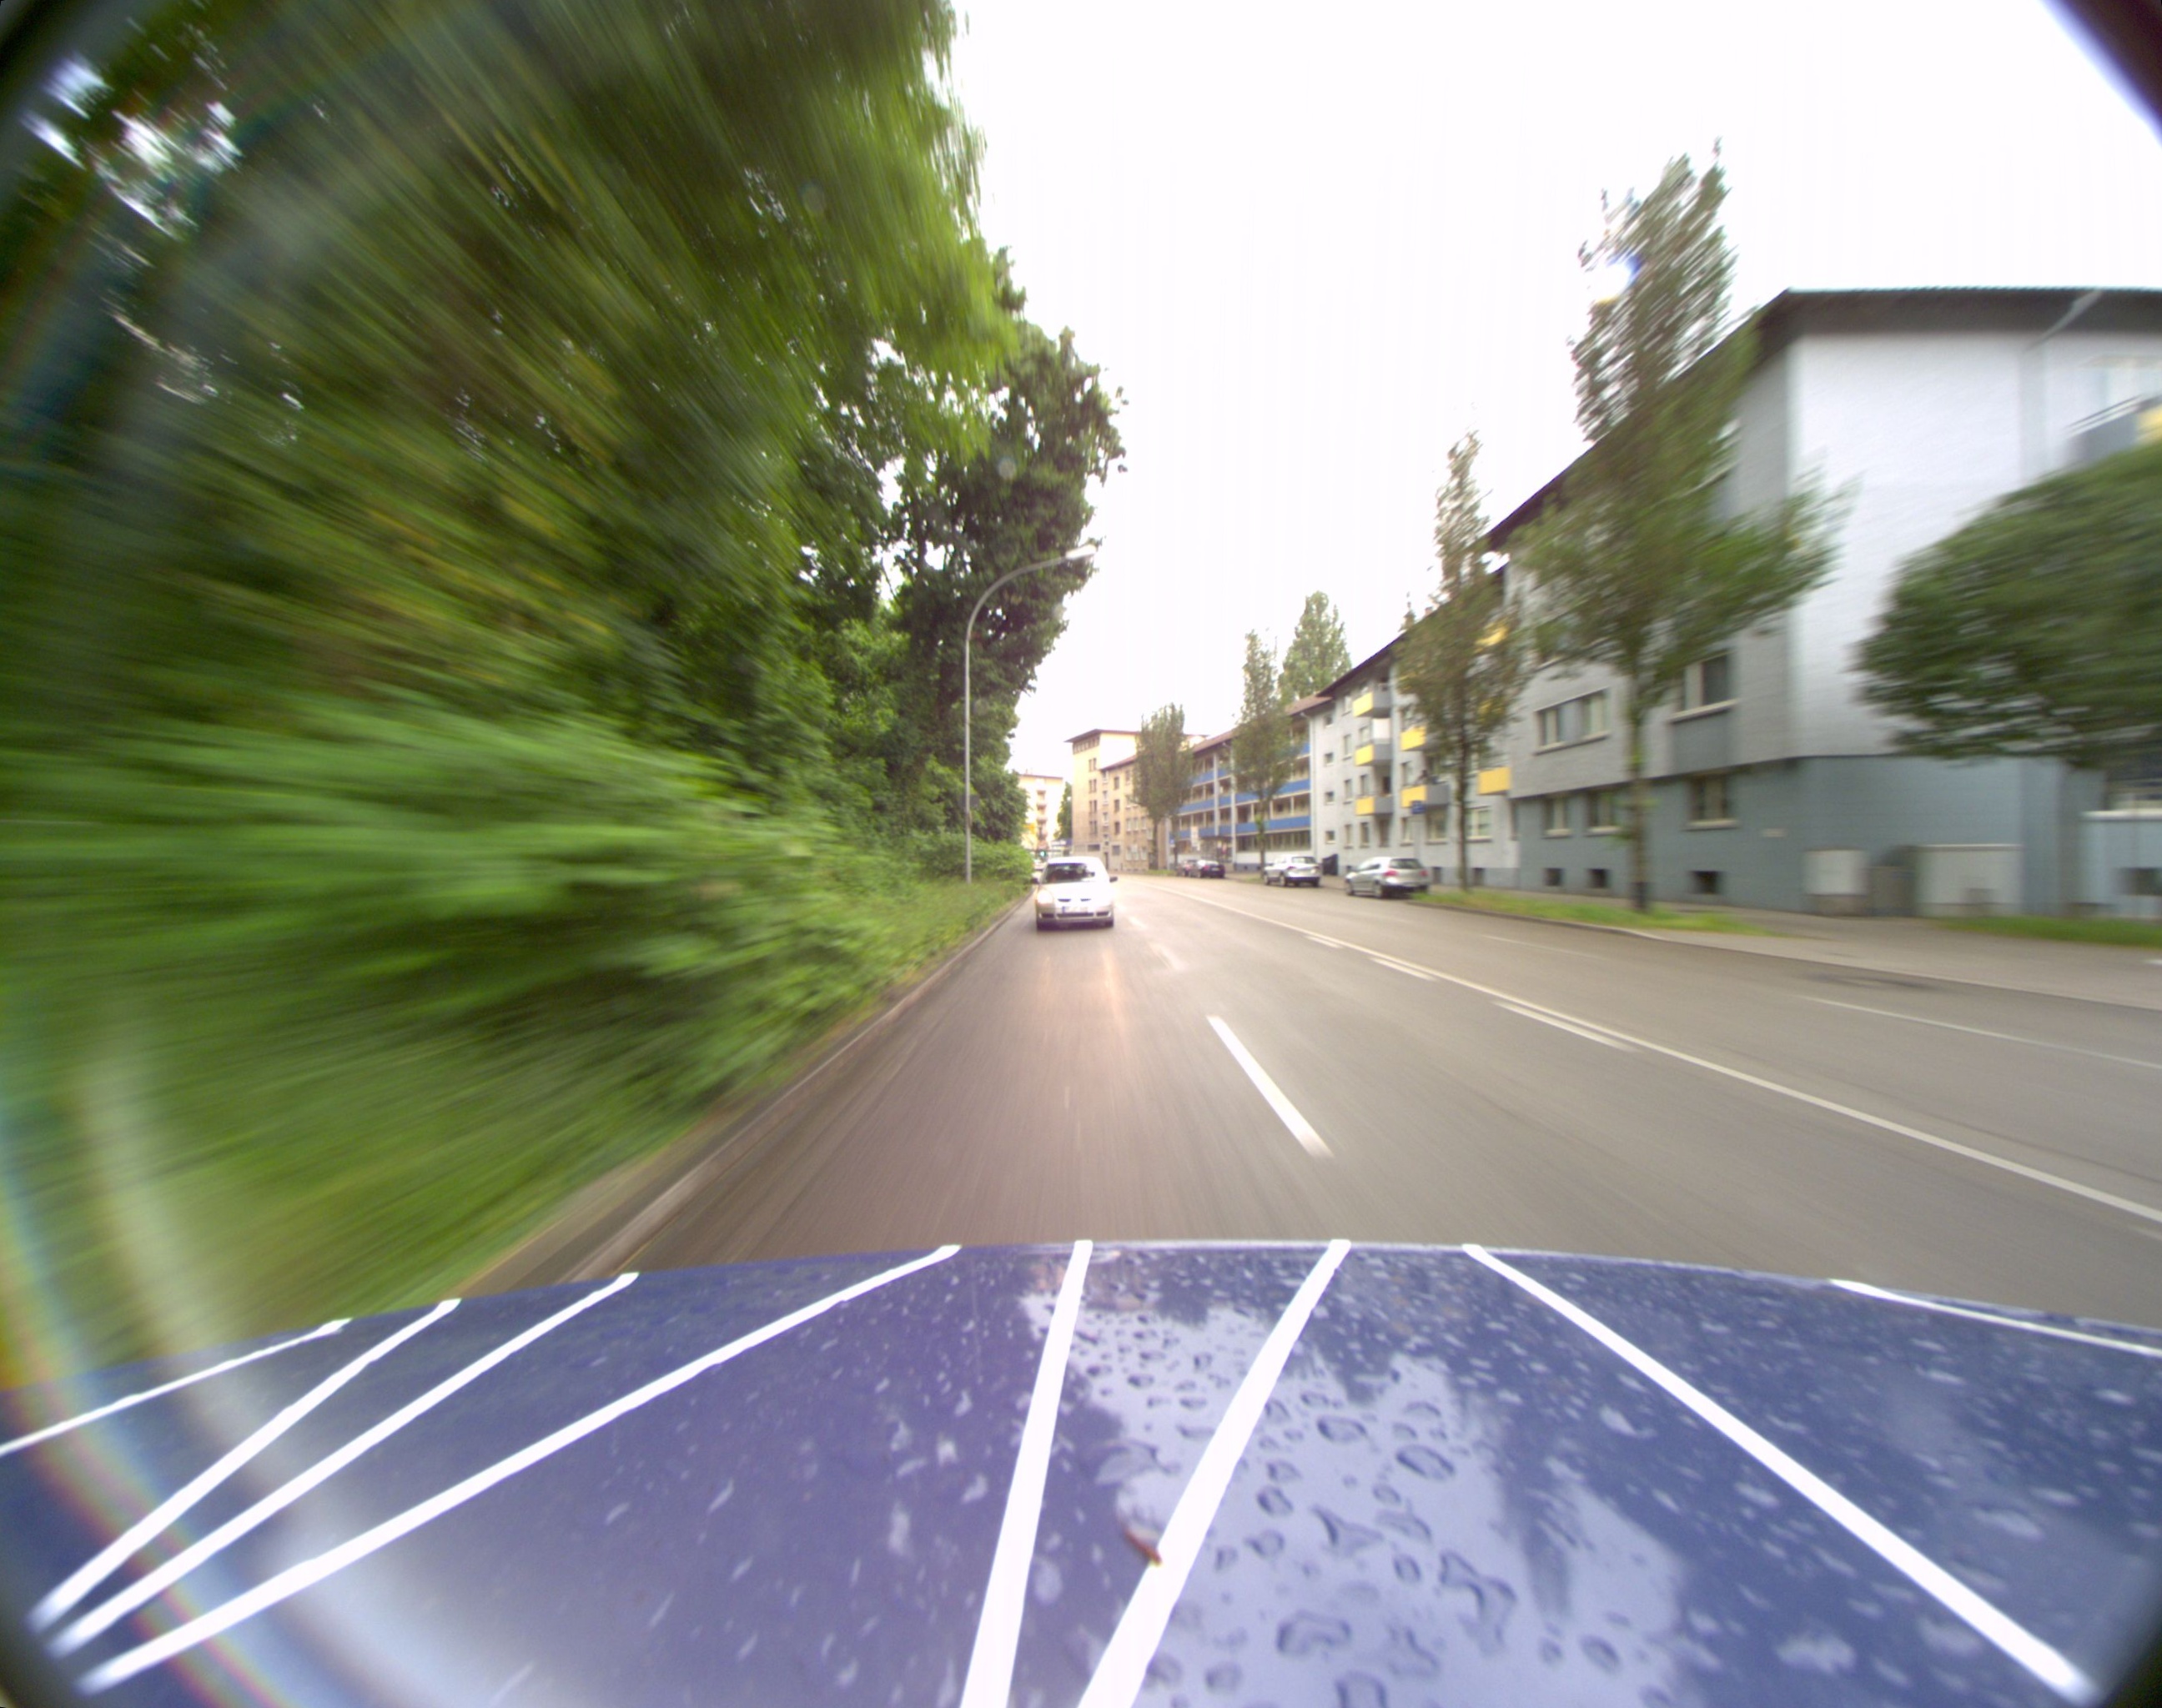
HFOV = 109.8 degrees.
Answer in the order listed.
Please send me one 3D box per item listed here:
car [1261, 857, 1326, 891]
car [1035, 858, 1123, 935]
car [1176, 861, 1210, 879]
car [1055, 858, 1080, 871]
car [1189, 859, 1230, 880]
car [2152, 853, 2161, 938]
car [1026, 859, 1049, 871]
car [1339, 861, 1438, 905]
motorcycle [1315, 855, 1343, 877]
[{"bbox_3d":[10.759,0.969,38.771,1.769,1.594,4.532,0,0,-4],"label":"car"},{"bbox_3d":[-0.164,0.880,17.603,1.753,1.510,3.999,-2,0,-3],"label":"car"},{"bbox_3d":[9.216,1.266,62.634,1.785,1.394,4.086,1,0,-6],"label":"car"},{"bbox_3d":[-1.610,1.187,87.027,1.759,1.417,4.531,-1,0,-15],"label":"car"},{"bbox_3d":[9.565,1.114,56.954,1.826,1.431,4.890,1,0,-5],"label":"car"},{"bbox_3d":[18.625,0.758,11.702,1.708,1.486,4.008,2,2,44],"label":"car"},{"bbox_3d":[-5.693,1.363,99.006,1.827,1.507,5.020,1,0,-17],"label":"car"},{"bbox_3d":[11.085,0.989,27.718,1.729,1.444,4.204,0,0,-3],"label":"car"},{"bbox_3d":[16.441,0.810,50.456,0.677,1.406,2.234,-3,1,-12],"label":"motorcycle"}]
